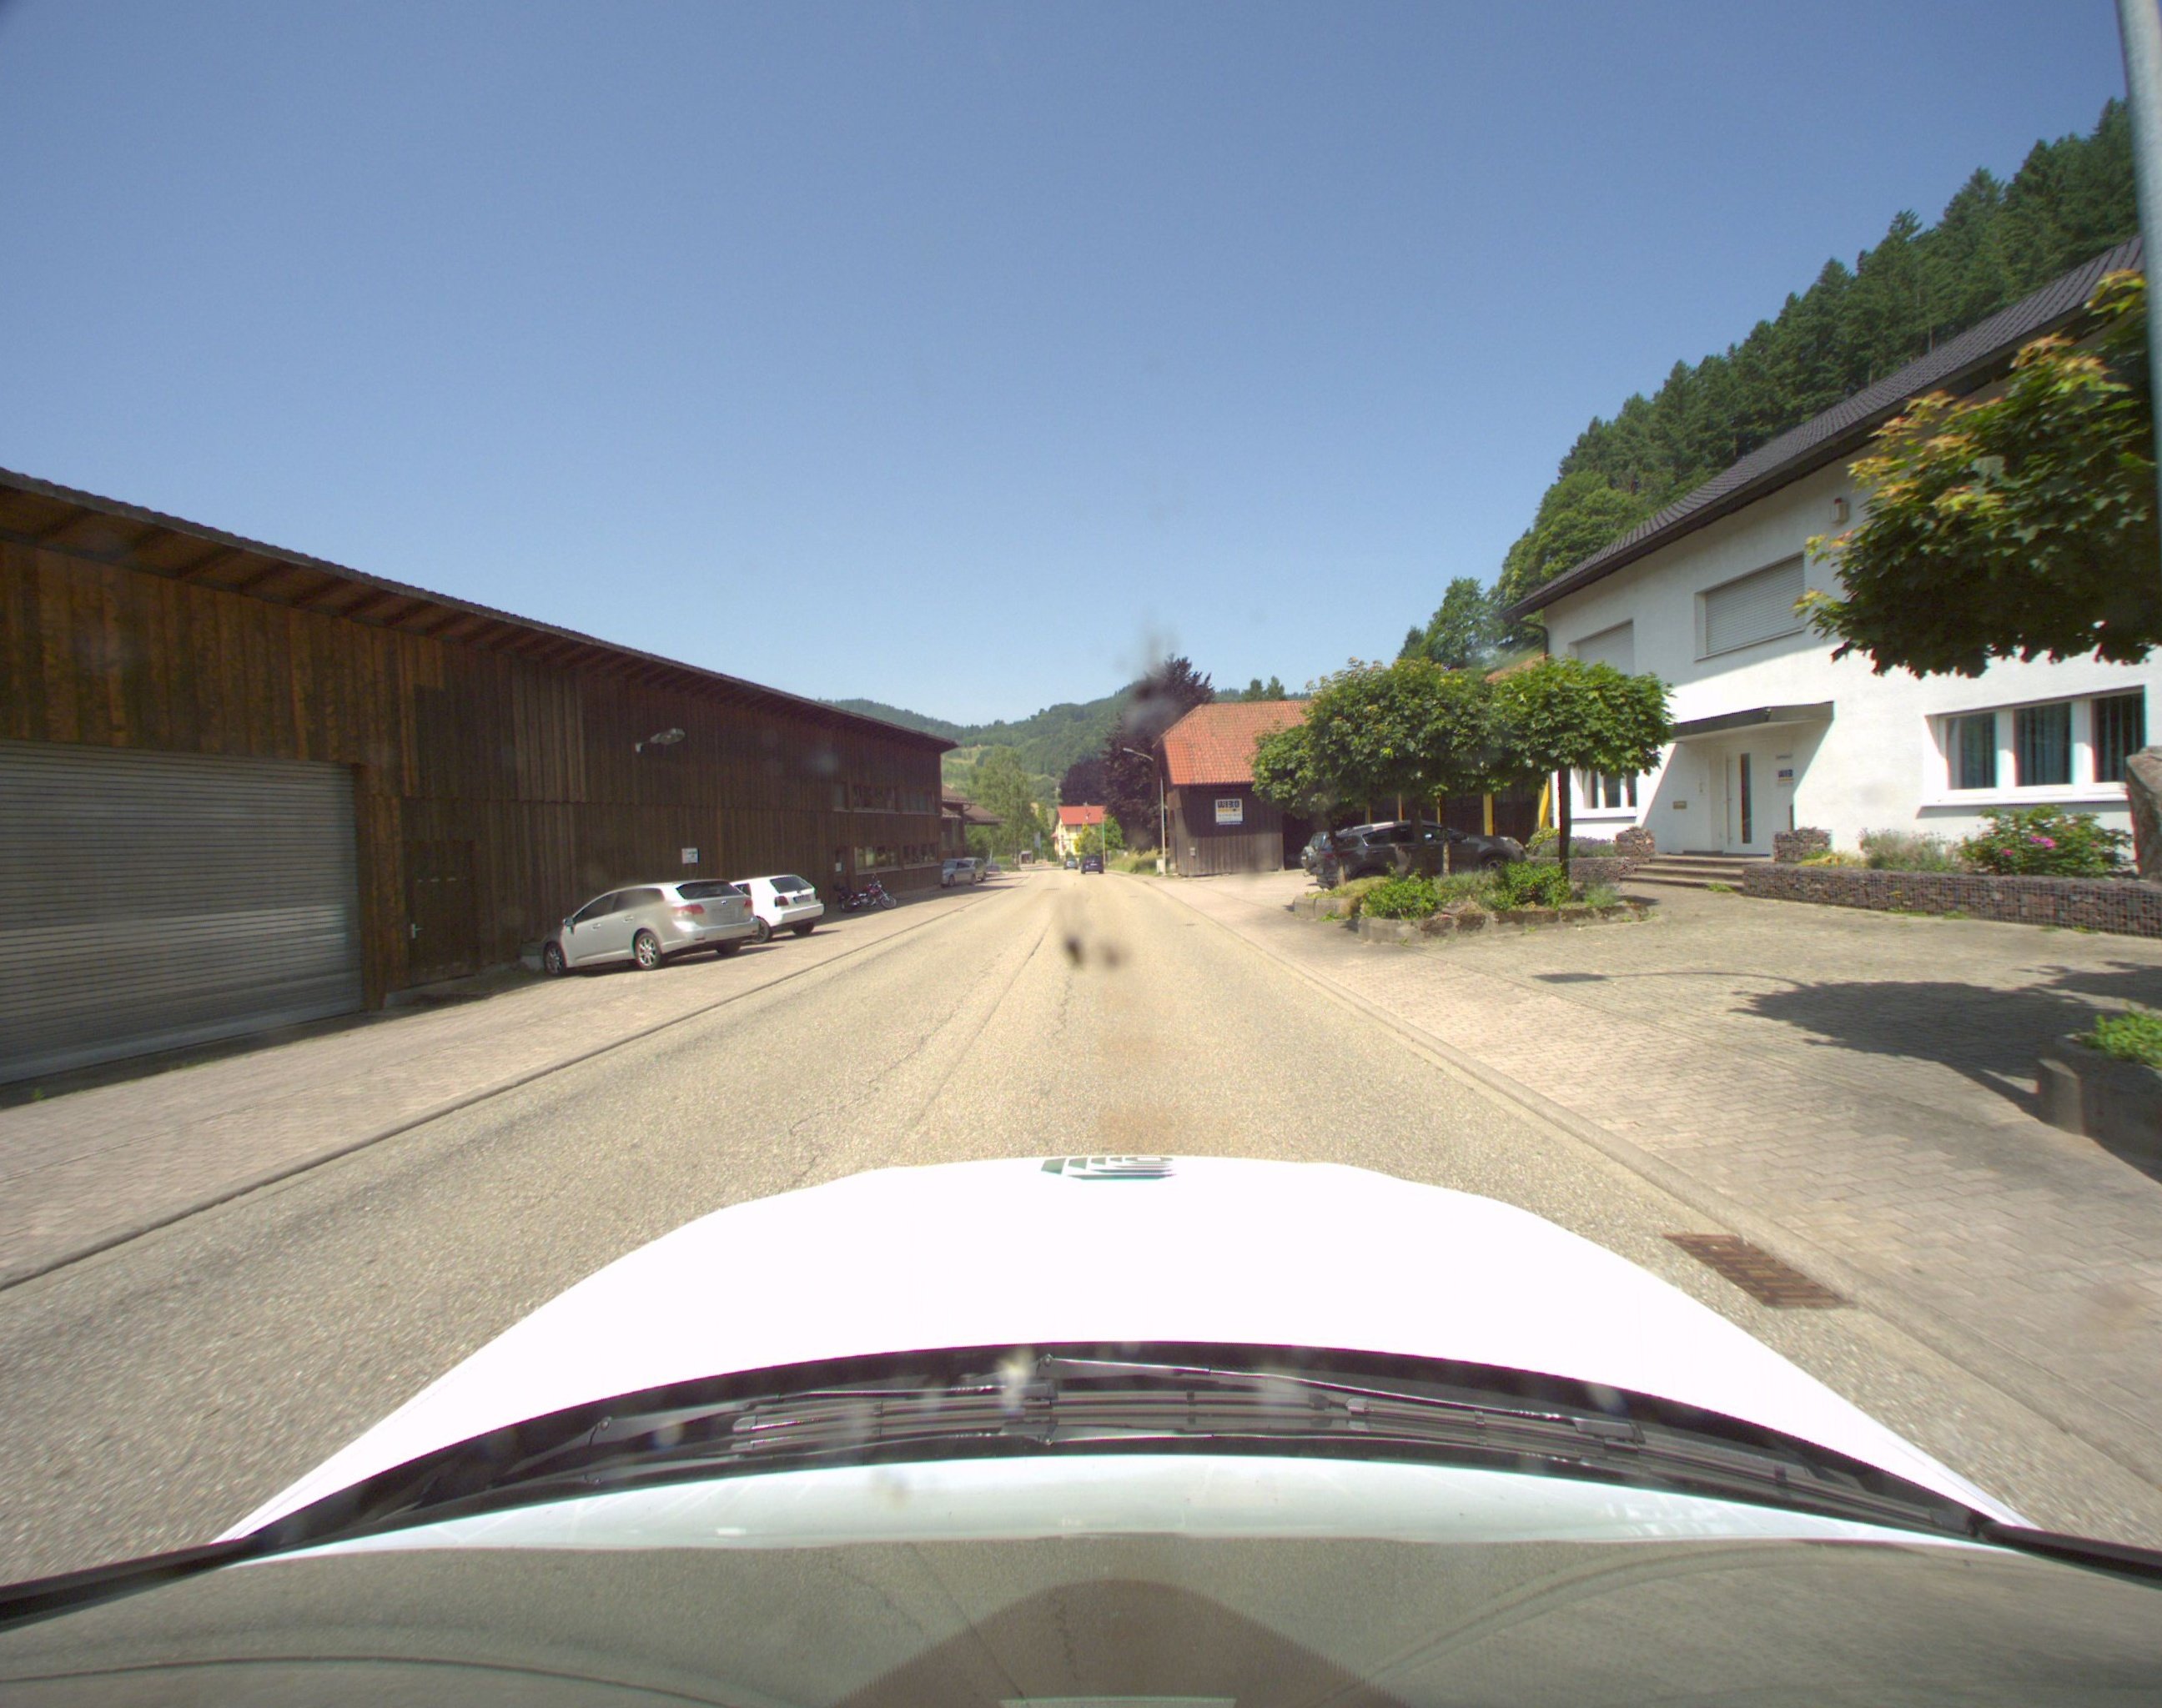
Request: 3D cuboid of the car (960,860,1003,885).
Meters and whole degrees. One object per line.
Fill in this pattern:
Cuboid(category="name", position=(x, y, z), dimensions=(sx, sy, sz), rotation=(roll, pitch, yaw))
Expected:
Cuboid(category="car", position=(-6.649, 1.206, 54.671), dimensions=(1.570, 1.570, 4.037), rotation=(1, 1, 13))

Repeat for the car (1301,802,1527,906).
Cuboid(category="car", position=(7.301, 0.005, 18.205), dimensions=(4.202, 1.687, 1.779), rotation=(-7, -1, 4))

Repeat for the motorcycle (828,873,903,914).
Cuboid(category="motorcycle", position=(-7.528, 1.382, 28.491), dimensions=(2.393, 1.264, 0.745), rotation=(-3, 0, 10))

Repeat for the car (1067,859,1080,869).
Cuboid(category="car", position=(-1.034, 1.328, 108.685), dimensions=(1.474, 1.209, 2.381), rotation=(-3, 0, -4))

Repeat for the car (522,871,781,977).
Cuboid(category="car", position=(-7.985, 1.307, 15.106), dimensions=(4.388, 1.474, 1.936), rotation=(-6, -1, 26))

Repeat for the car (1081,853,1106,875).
Cuboid(category="car", position=(1.056, 0.866, 69.858), dimensions=(1.914, 1.698, 3.787), rotation=(-3, 0, -1))

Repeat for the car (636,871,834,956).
Cuboid(category="car", position=(-7.597, 1.293, 17.966), dimensions=(3.631, 1.385, 1.718), rotation=(-7, -1, 16))

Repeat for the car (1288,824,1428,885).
Cuboid(category="car", position=(9.603, 0.009, 28.434), dimensions=(4.117, 1.832, 1.952), rotation=(-3, 0, -3))

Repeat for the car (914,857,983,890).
Cuboid(category="car", position=(-6.840, 0.994, 42.629), dimensions=(1.716, 1.454, 4.824), rotation=(-2, 1, 15))
